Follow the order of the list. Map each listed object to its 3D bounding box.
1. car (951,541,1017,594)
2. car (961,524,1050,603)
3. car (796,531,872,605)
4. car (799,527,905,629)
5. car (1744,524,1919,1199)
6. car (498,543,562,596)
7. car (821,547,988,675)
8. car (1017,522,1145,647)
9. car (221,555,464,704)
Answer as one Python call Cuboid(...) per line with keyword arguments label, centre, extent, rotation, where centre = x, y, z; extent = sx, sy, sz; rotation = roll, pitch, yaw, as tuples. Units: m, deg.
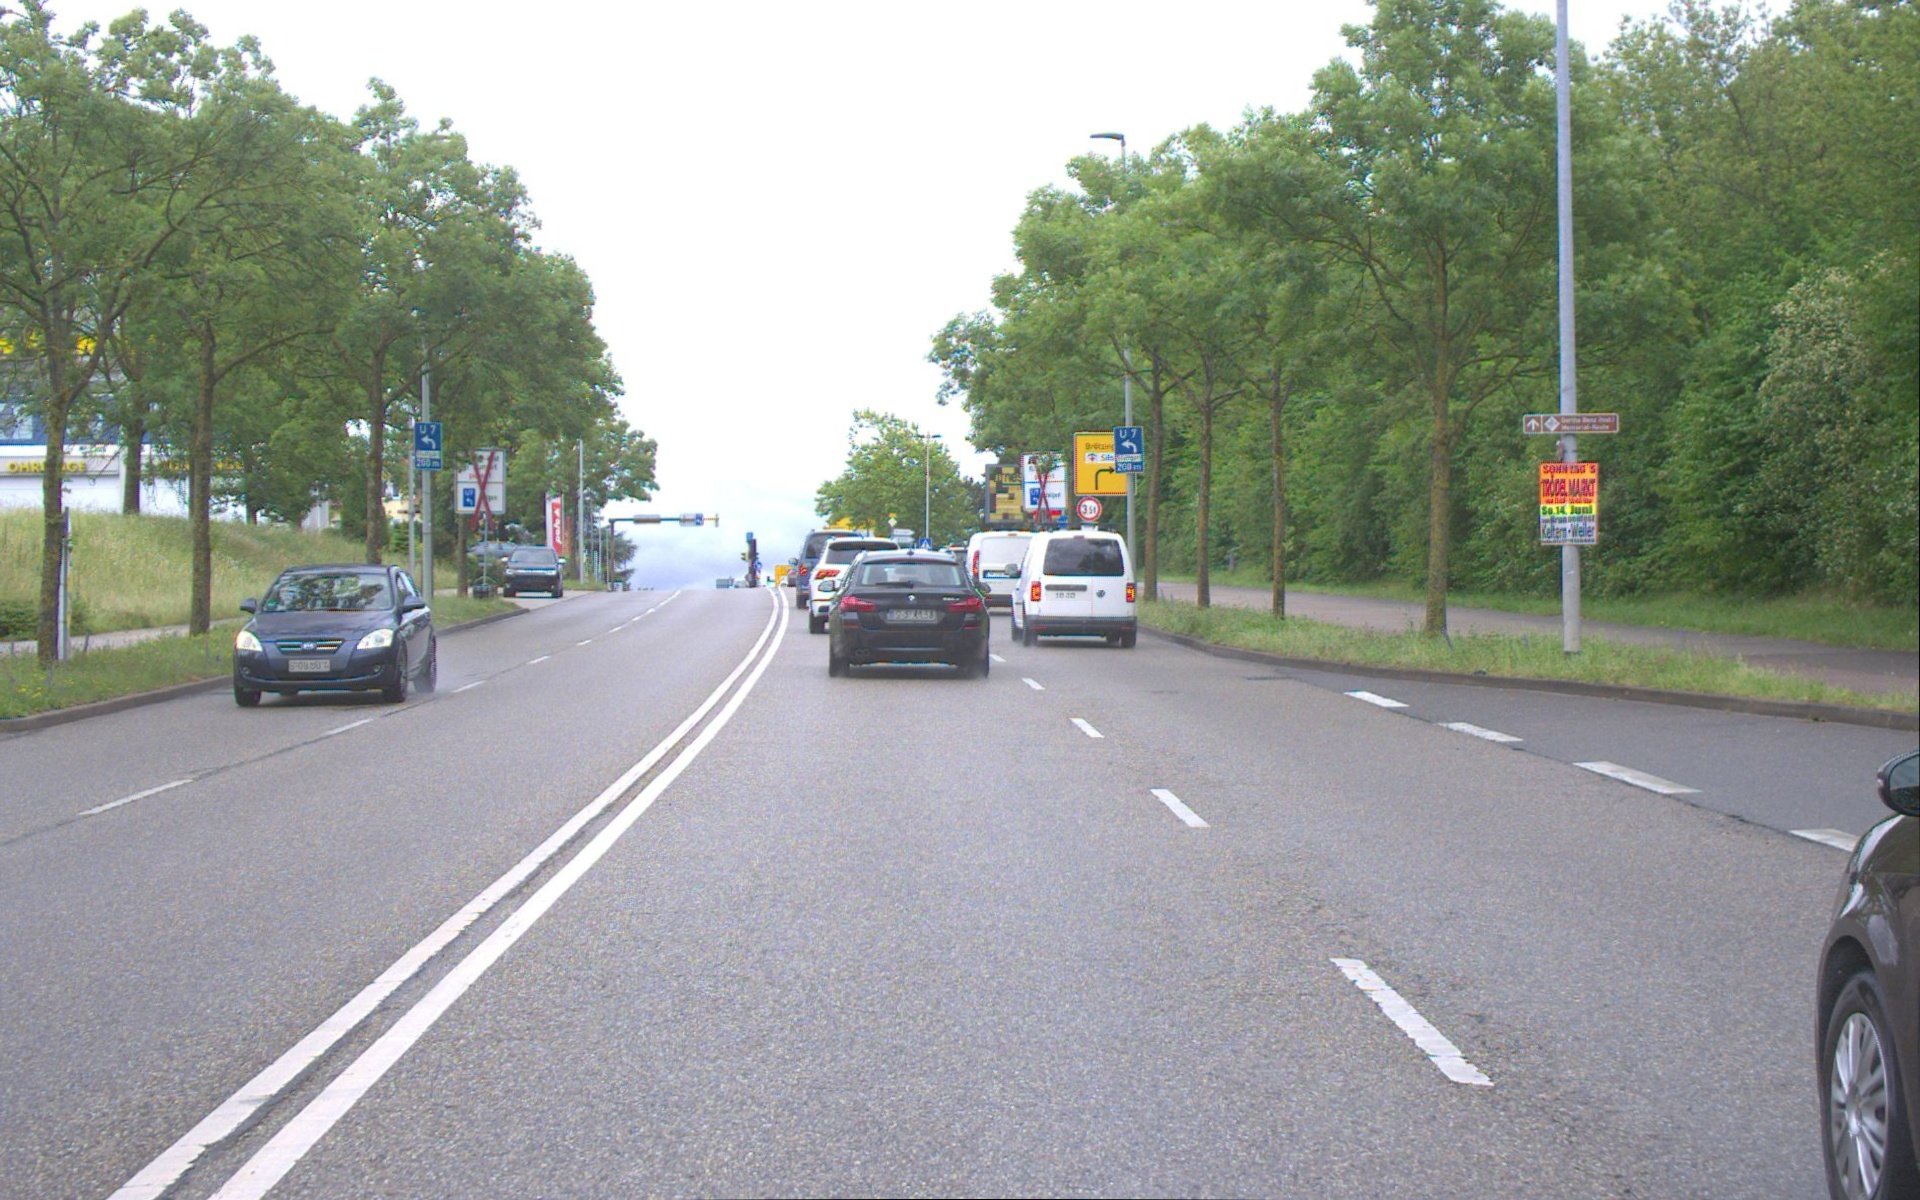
Cuboid(label="car", centre=(0.617, -0.871, 91.031), extent=(1.600, 1.367, 3.680), rotation=(-1, 1, -2))
Cuboid(label="car", centre=(0.978, -0.811, 76.389), extent=(1.814, 1.702, 3.946), rotation=(0, 1, -2))
Cuboid(label="car", centre=(-2.984, -0.769, 82.000), extent=(1.758, 1.702, 3.946), rotation=(0, 1, -2))
Cuboid(label="car", centre=(-1.853, -0.398, 59.985), extent=(1.728, 1.705, 3.382), rotation=(1, 1, 0))
Cuboid(label="car", centre=(2.771, 0.662, 5.971), extent=(1.714, 1.591, 4.131), rotation=(1, 0, -2))
Cuboid(label="car", centre=(-13.961, -0.996, 111.838), extent=(1.726, 1.662, 4.488), rotation=(1, 1, -3))
Cuboid(label="car", centre=(-0.657, 0.099, 40.581), extent=(1.855, 1.414, 3.957), rotation=(1, 1, -1))
Cuboid(label="car", centre=(1.862, -0.266, 53.945), extent=(1.741, 1.863, 3.946), rotation=(1, 1, -2))
Cuboid(label="car", centre=(-6.648, 0.277, 37.396), extent=(1.737, 1.449, 4.000), rotation=(-2, 1, 2))
